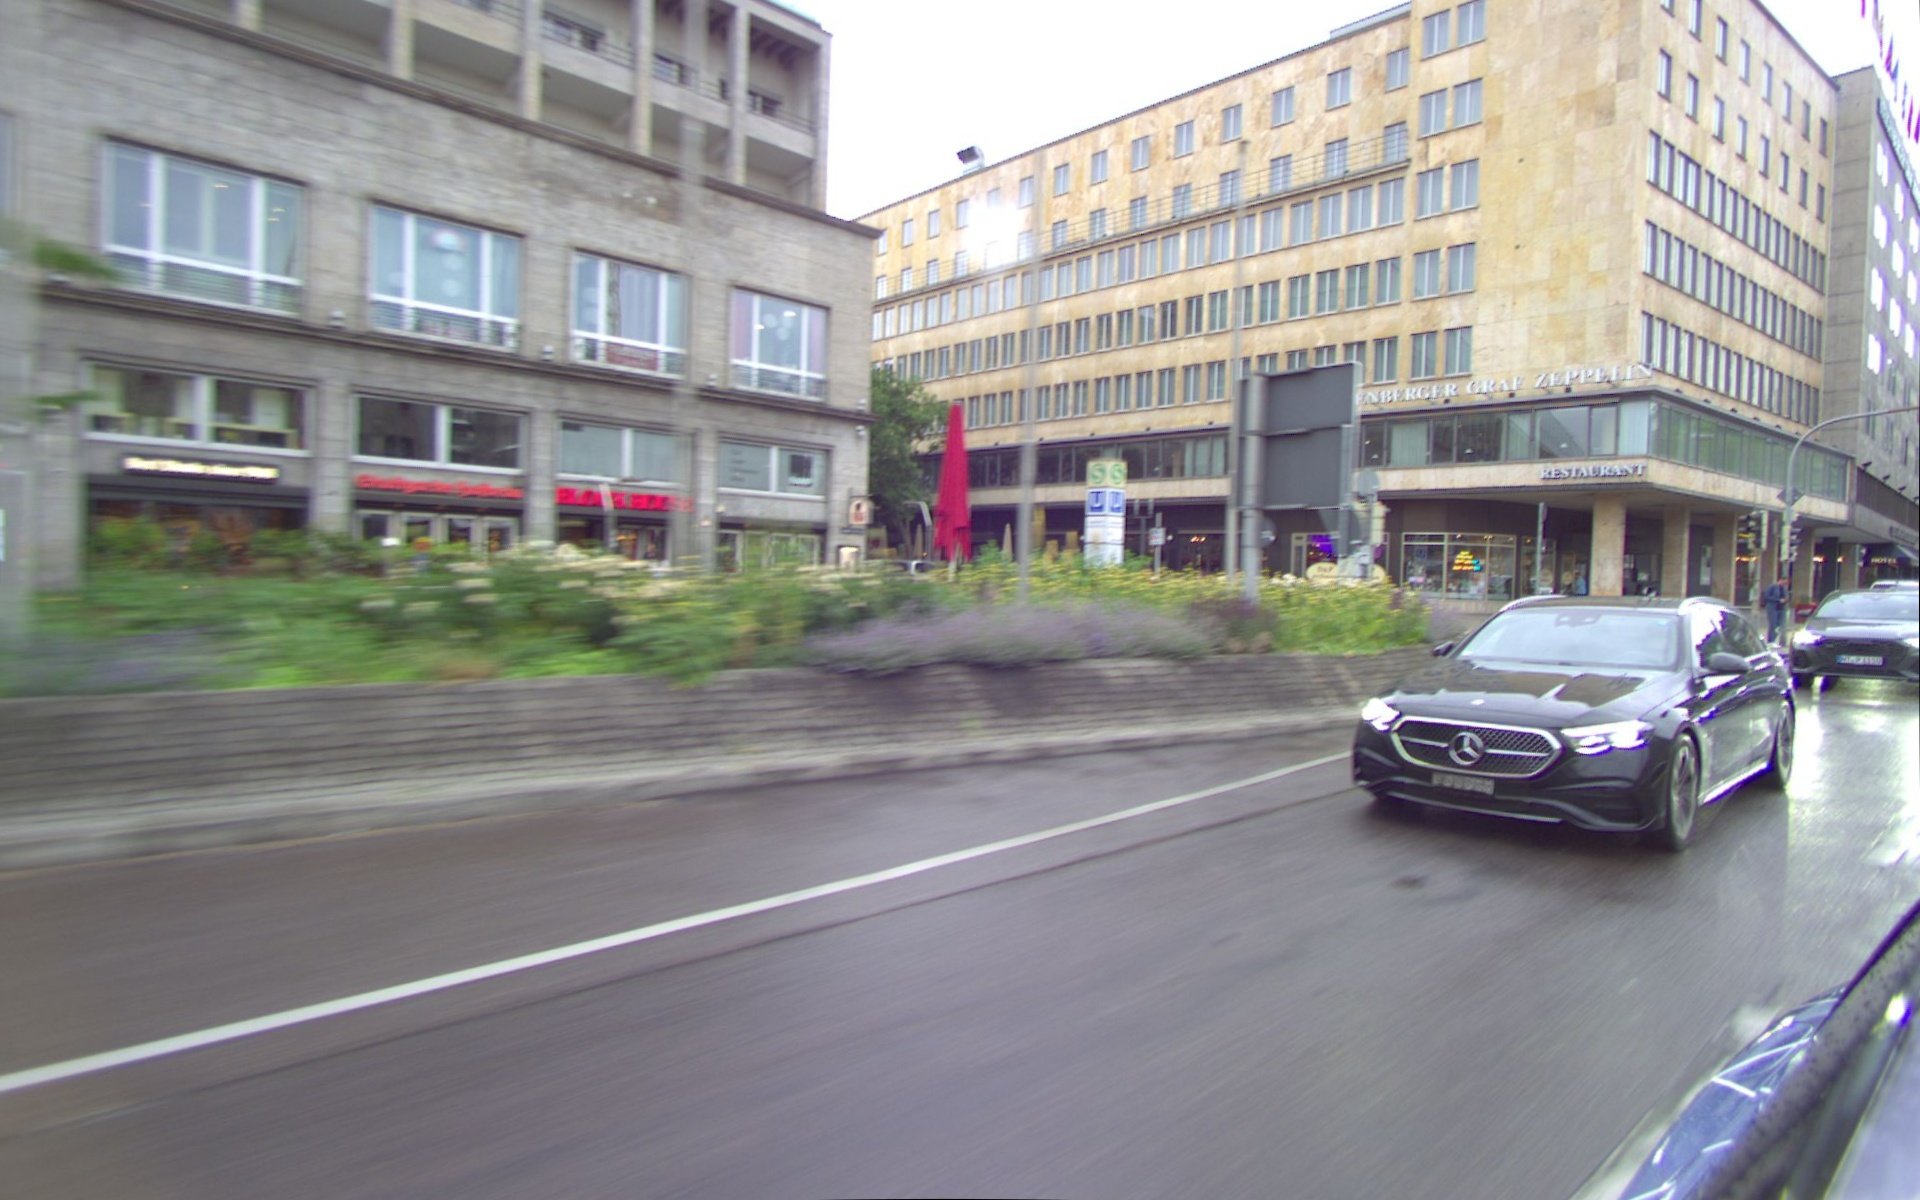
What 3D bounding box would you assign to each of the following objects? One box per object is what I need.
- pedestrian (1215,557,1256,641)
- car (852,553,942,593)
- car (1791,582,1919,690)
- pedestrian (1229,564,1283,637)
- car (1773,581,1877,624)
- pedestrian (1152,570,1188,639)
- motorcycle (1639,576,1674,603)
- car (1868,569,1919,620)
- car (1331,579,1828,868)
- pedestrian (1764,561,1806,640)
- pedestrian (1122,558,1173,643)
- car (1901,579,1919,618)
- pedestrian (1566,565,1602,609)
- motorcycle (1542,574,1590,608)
[{"bbox_3d":[6.033,-0.029,22.176,0.669,1.812,0.536,0,1,-38],"label":"pedestrian"},{"bbox_3d":[-3.349,-1.448,53.153,1.965,1.950,5.158,1,1,-41],"label":"car"},{"bbox_3d":[14.966,0.500,16.223,4.091,1.526,1.875,0,2,-41],"label":"car"},{"bbox_3d":[7.460,0.007,25.478,0.968,1.784,0.894,0,1,-40],"label":"pedestrian"},{"bbox_3d":[31.172,0.050,36.425,4.404,1.431,2.193,0,2,-41],"label":"car"},{"bbox_3d":[4.754,0.090,22.906,0.581,1.548,0.555,0,1,-40],"label":"pedestrian"},{"bbox_3d":[33.183,-0.483,48.205,2.492,1.246,0.730,0,2,-41],"label":"motorcycle"},{"bbox_3d":[37.839,-0.214,40.220,4.910,1.908,1.997,0,2,-41],"label":"car"},{"bbox_3d":[4.766,0.610,7.458,4.618,1.482,1.821,0,2,-41],"label":"car"},{"bbox_3d":[20.741,-0.002,25.439,0.779,1.943,0.674,0,1,-40],"label":"pedestrian"},{"bbox_3d":[4.003,-0.004,21.574,0.823,1.773,0.698,0,1,-43],"label":"pedestrian"},{"bbox_3d":[43.013,-0.062,44.403,5.045,1.674,1.997,0,2,-41],"label":"car"},{"bbox_3d":[27.447,-0.591,44.537,1.089,1.869,1.001,0,2,-39],"label":"pedestrian"},{"bbox_3d":[27.004,-0.401,45.070,2.801,1.471,0.964,0,2,-41],"label":"motorcycle"}]
